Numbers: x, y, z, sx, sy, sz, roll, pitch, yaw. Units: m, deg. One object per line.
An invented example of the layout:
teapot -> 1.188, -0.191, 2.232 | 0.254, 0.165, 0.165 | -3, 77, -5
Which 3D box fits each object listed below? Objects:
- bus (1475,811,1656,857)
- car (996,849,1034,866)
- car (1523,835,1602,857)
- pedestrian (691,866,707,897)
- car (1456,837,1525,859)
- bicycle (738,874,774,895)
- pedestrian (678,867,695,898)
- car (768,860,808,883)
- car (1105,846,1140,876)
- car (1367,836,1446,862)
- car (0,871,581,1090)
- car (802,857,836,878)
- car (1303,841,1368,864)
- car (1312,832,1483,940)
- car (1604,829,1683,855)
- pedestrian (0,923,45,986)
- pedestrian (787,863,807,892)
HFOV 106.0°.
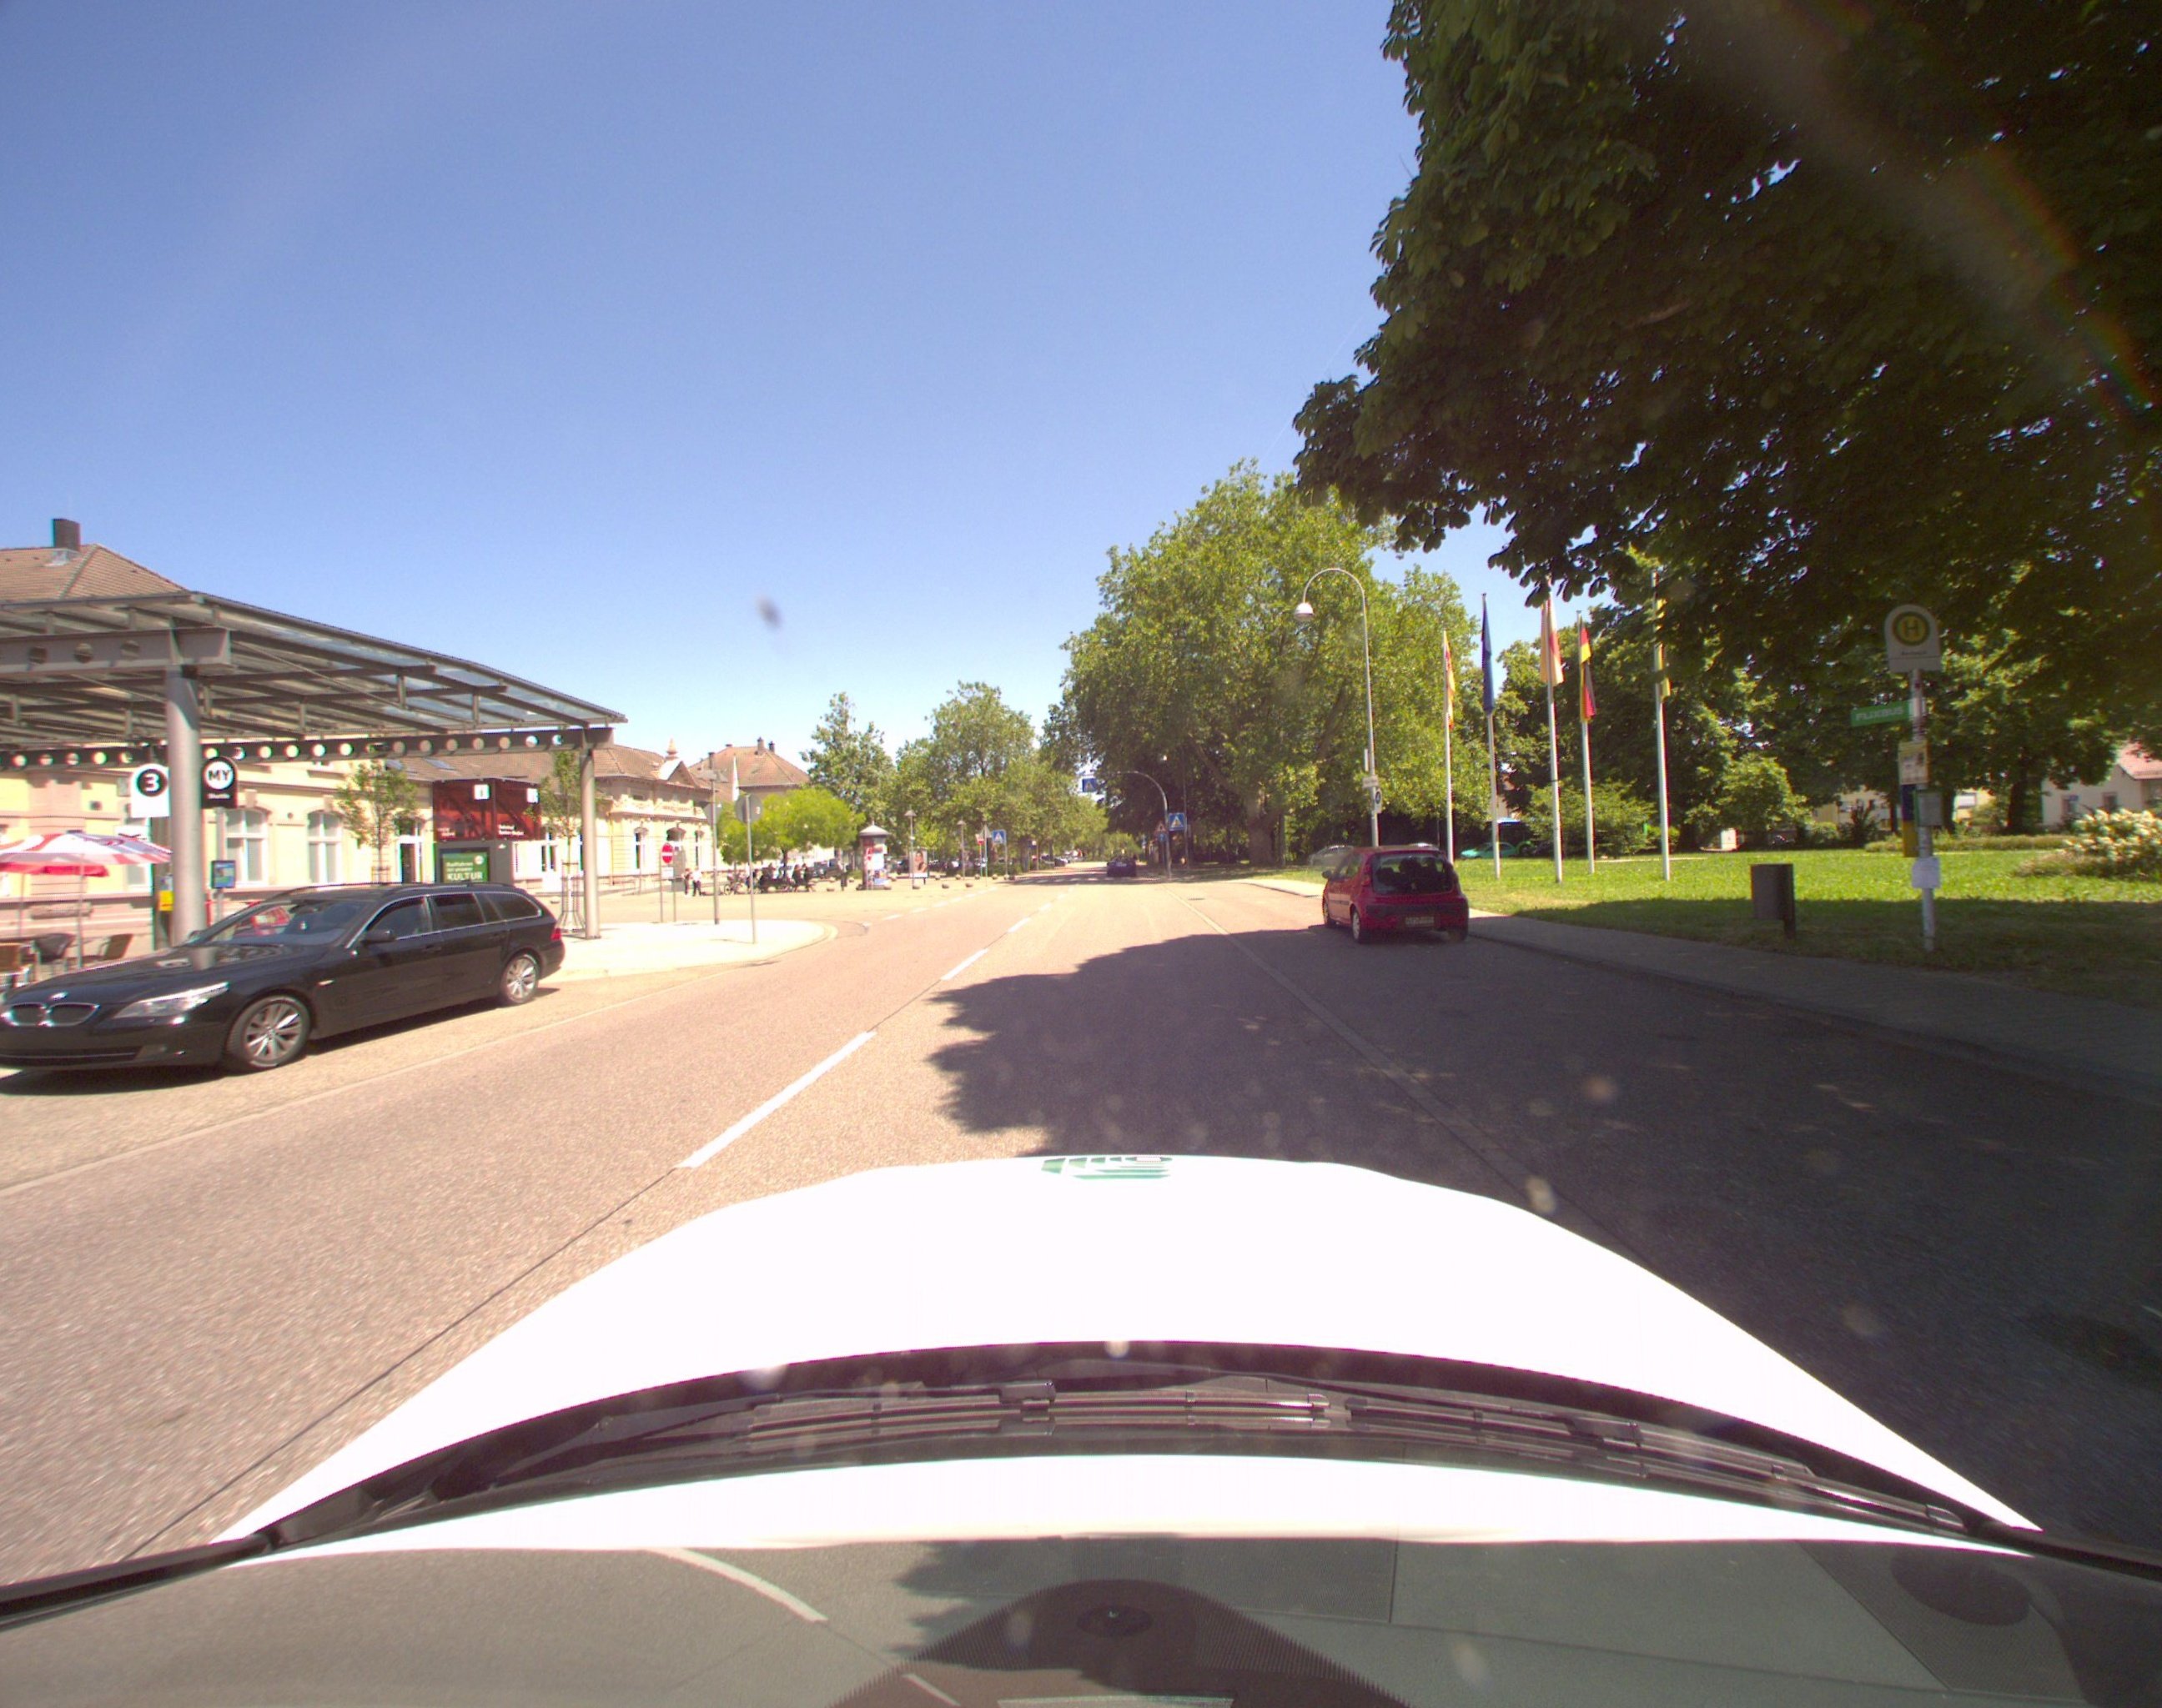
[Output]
bus -> 37.330, -1.488, 63.010 | 12.330, 2.978, 2.270 | -2, -1, 2
car -> -7.663, 0.421, 93.992 | 3.995, 1.781, 1.989 | -2, -1, -16
car -> 33.838, -0.554, 57.311 | 4.319, 1.416, 2.001 | -2, -1, 3
pedestrian -> -21.427, 1.564, 45.677 | 0.589, 1.710, 0.580 | 0, -3, -44
car -> 28.933, -0.403, 57.605 | 3.864, 1.454, 2.002 | -2, -1, 3
bicycle -> -17.830, 1.667, 44.692 | 1.799, 1.030, 0.485 | -2, -1, -21
pedestrian -> -21.920, 1.583, 45.230 | 0.661, 1.673, 0.623 | 0, -3, -45
car -> -27.286, 1.607, 75.909 | 1.744, 1.917, 4.778 | -2, 1, 2
car -> 2.637, 0.440, 52.593 | 2.117, 1.848, 4.050 | -2, 0, 2
car -> 22.987, -0.324, 57.731 | 4.799, 1.607, 2.004 | -2, 0, 6
car -> -7.590, 0.996, 8.433 | 1.712, 1.478, 4.787 | -3, 0, 1
car -> -26.738, 1.368, 83.144 | 1.986, 2.013, 4.002 | -2, 0, 2
car -> 18.203, -0.096, 58.378 | 4.085, 1.466, 2.003 | -3, 0, 5
car -> 5.045, 0.463, 13.518 | 1.710, 1.478, 3.713 | -3, 0, 6
car -> 39.209, -0.820, 56.869 | 4.078, 1.609, 2.002 | -2, -1, 4
pedestrian -> -16.411, 1.549, 12.572 | 0.373, 0.923, 0.422 | -1, -2, -27
pedestrian -> -16.542, 1.357, 47.422 | 0.754, 1.659, 0.724 | -3, -2, 19
